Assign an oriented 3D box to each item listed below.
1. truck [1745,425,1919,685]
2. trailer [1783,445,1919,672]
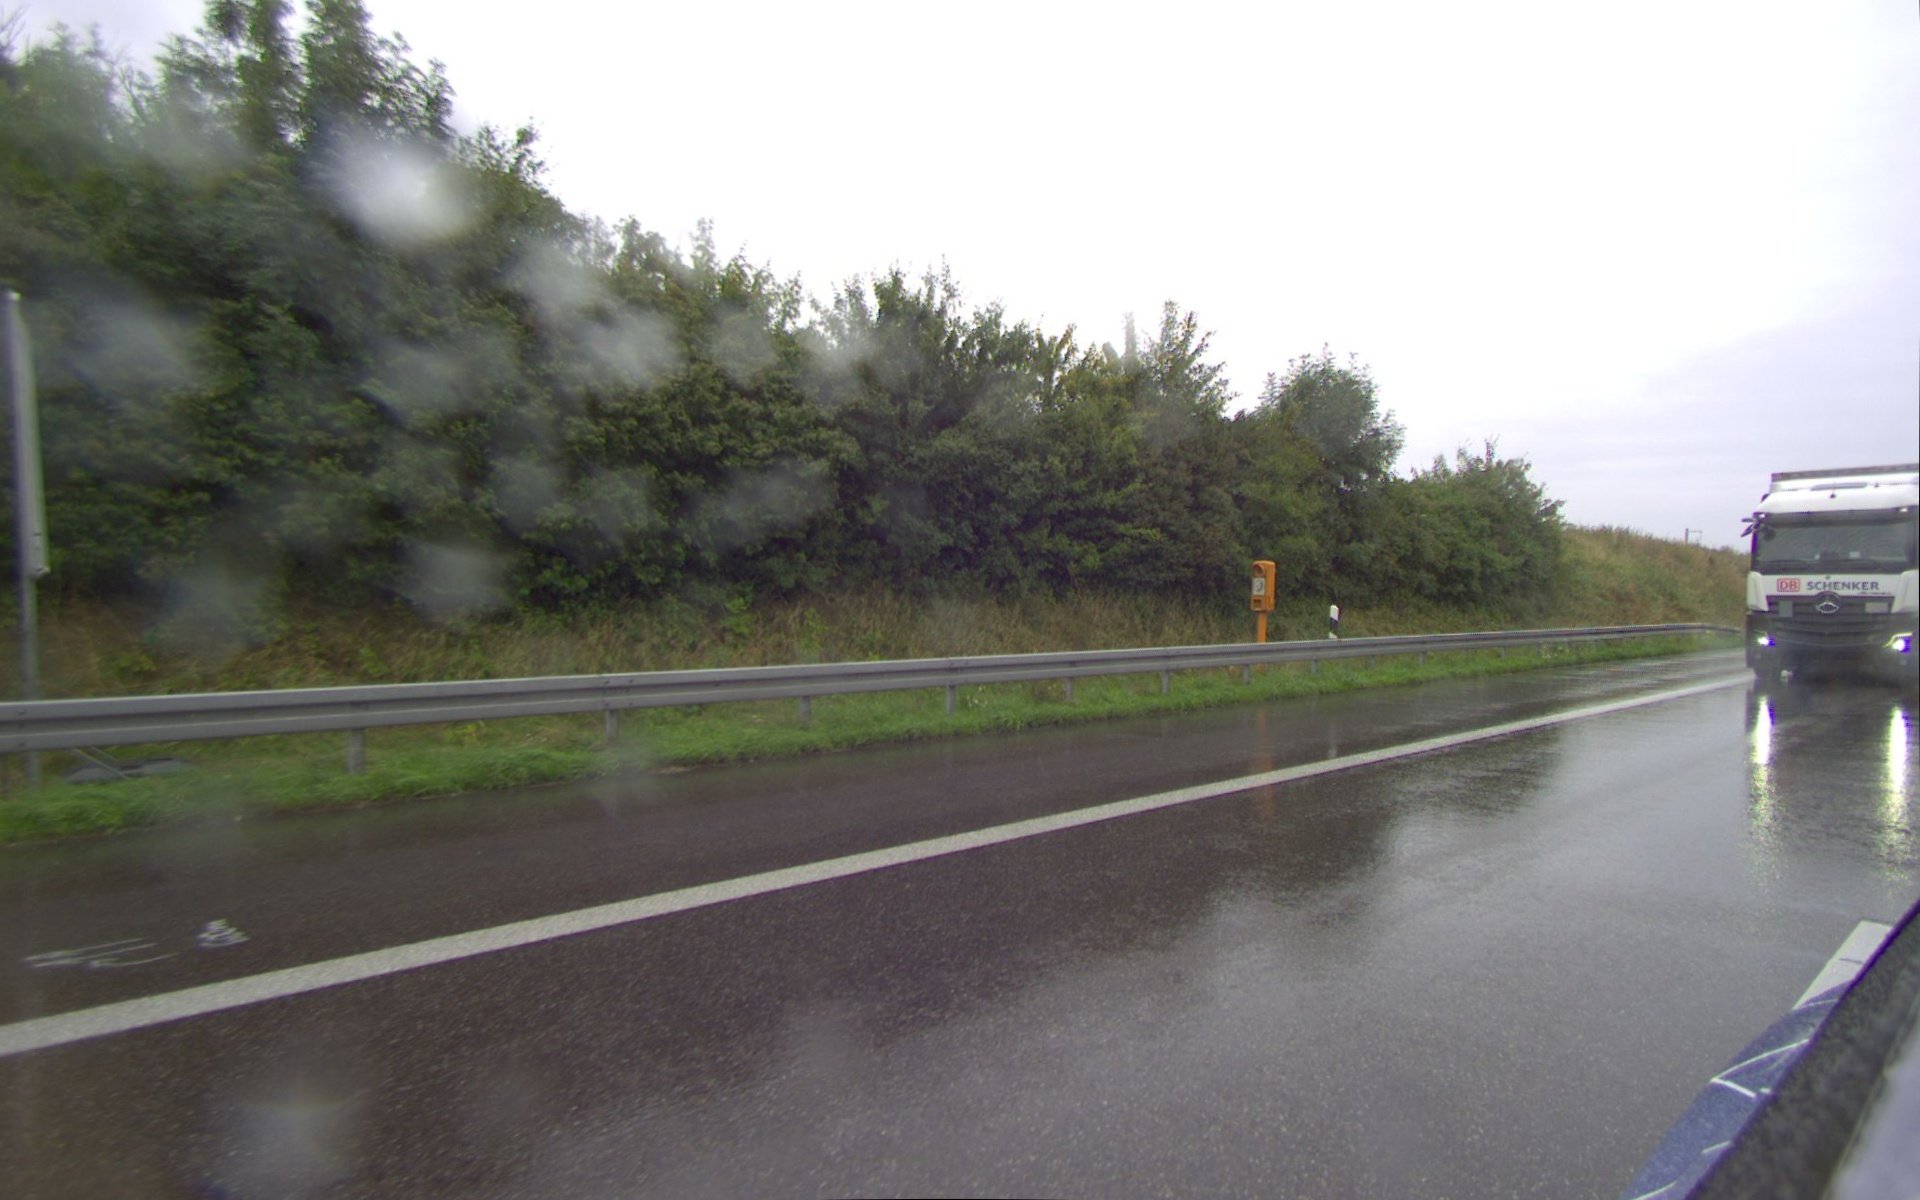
[{"bbox_3d":[17.093,-0.777,19.176,4.956,4.307,2.630,0,0,-41],"label":"truck"},{"bbox_3d":[23.001,-0.842,24.311,13.928,4.302,2.631,-1,0,-41],"label":"trailer"}]
